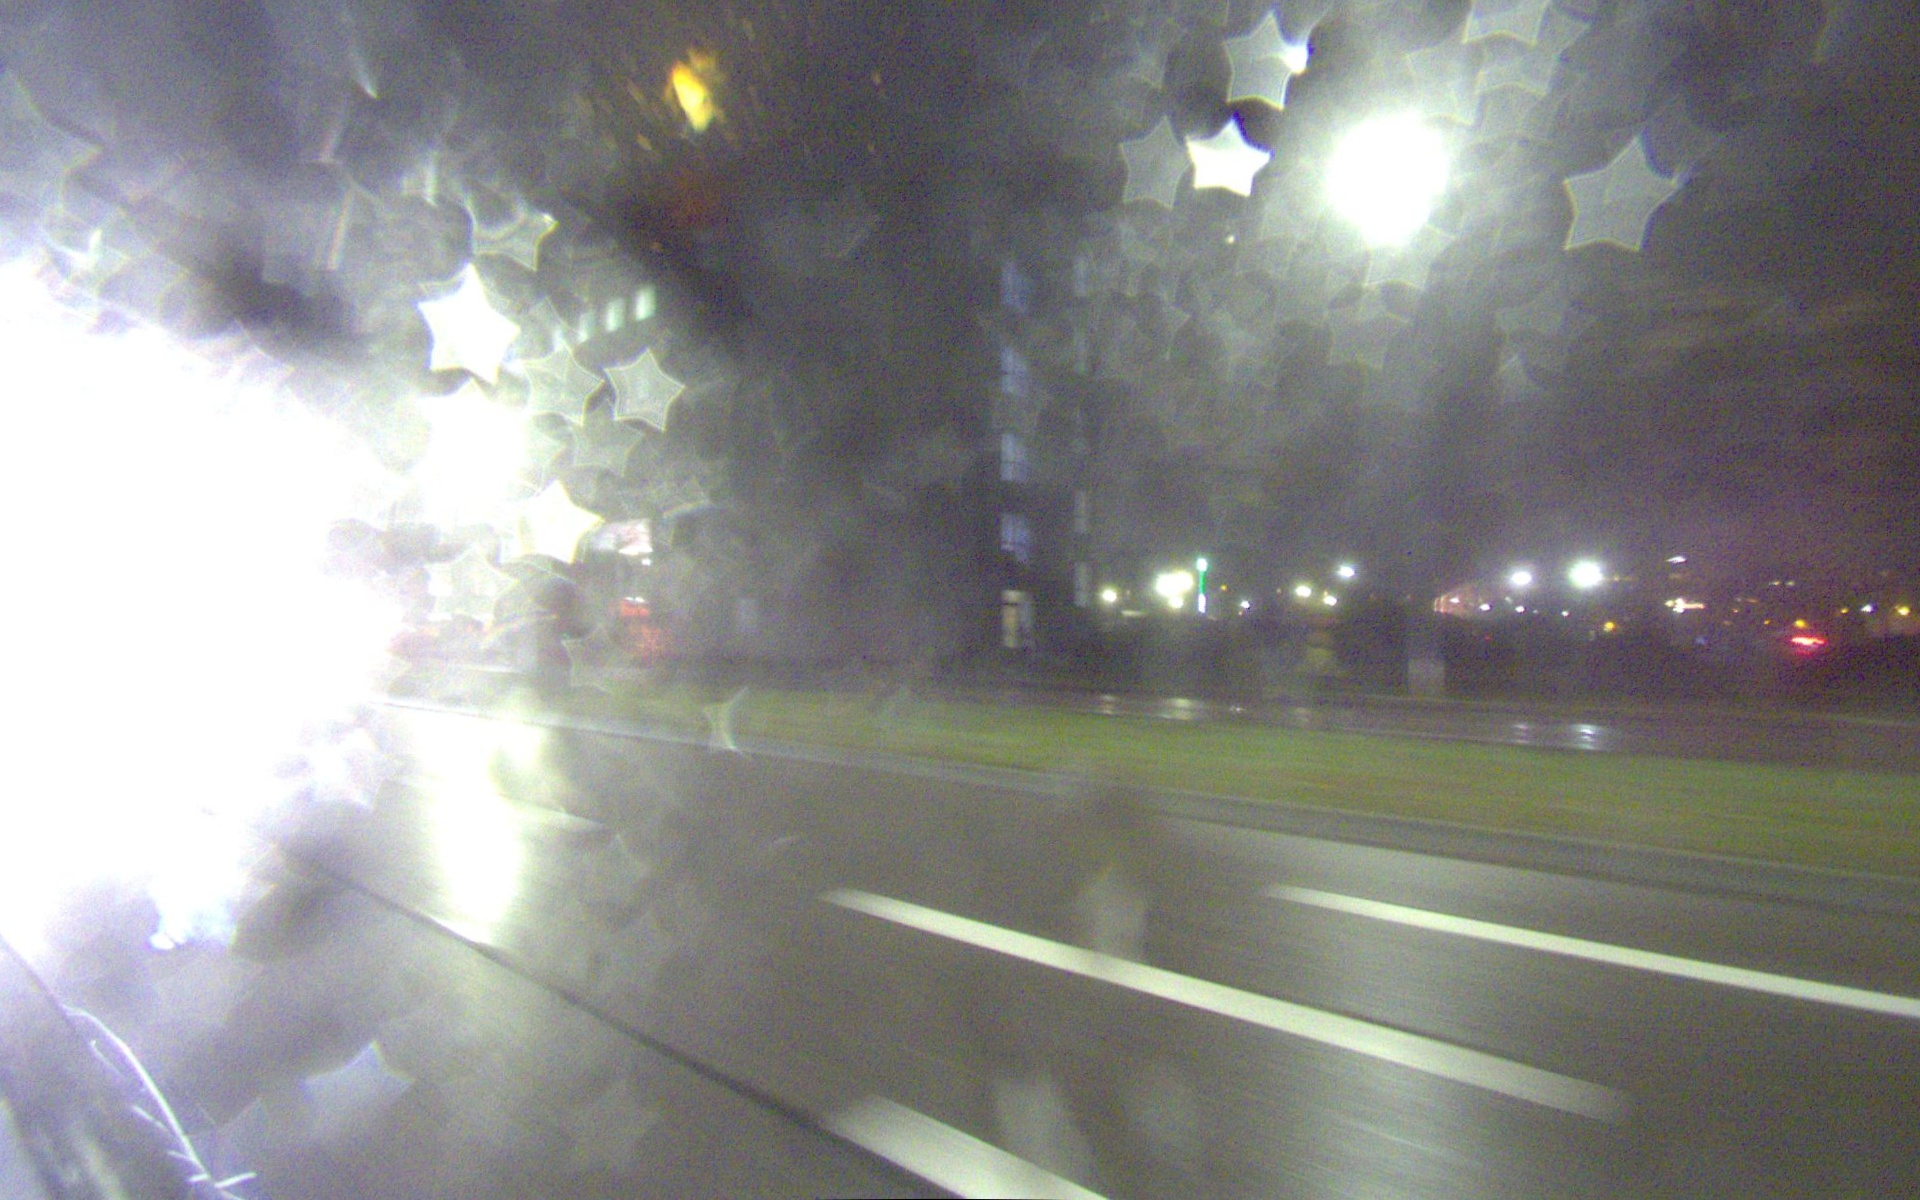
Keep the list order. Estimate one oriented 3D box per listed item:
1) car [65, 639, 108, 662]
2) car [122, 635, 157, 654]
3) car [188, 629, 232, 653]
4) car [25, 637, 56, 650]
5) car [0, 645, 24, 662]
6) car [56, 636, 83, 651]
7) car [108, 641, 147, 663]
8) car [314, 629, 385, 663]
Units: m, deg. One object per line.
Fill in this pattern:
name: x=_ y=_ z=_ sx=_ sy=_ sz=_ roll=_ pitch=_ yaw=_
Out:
car: x=-62.451 y=3.585 z=72.335 sx=4.365 sy=1.498 sz=1.823 roll=-2 pitch=-1 yaw=43
car: x=-72.856 y=3.928 z=89.880 sx=4.365 sy=1.604 sz=1.823 roll=-2 pitch=-1 yaw=43
car: x=-54.130 y=2.958 z=73.020 sx=4.365 sy=1.604 sz=1.823 roll=-2 pitch=-1 yaw=43
car: x=-98.677 y=4.643 z=108.593 sx=5.554 sy=1.369 sz=1.824 roll=-2 pitch=-1 yaw=40
car: x=-97.326 y=5.411 z=103.330 sx=5.319 sy=1.604 sz=1.826 roll=-2 pitch=-1 yaw=38
car: x=-100.686 y=4.866 z=114.408 sx=4.749 sy=1.604 sz=1.823 roll=-2 pitch=-1 yaw=42
car: x=-65.526 y=4.038 z=79.608 sx=4.365 sy=1.604 sz=1.823 roll=-2 pitch=-1 yaw=43
car: x=-32.677 y=2.431 z=54.131 sx=4.545 sy=1.697 sz=2.003 roll=-2 pitch=-1 yaw=41
